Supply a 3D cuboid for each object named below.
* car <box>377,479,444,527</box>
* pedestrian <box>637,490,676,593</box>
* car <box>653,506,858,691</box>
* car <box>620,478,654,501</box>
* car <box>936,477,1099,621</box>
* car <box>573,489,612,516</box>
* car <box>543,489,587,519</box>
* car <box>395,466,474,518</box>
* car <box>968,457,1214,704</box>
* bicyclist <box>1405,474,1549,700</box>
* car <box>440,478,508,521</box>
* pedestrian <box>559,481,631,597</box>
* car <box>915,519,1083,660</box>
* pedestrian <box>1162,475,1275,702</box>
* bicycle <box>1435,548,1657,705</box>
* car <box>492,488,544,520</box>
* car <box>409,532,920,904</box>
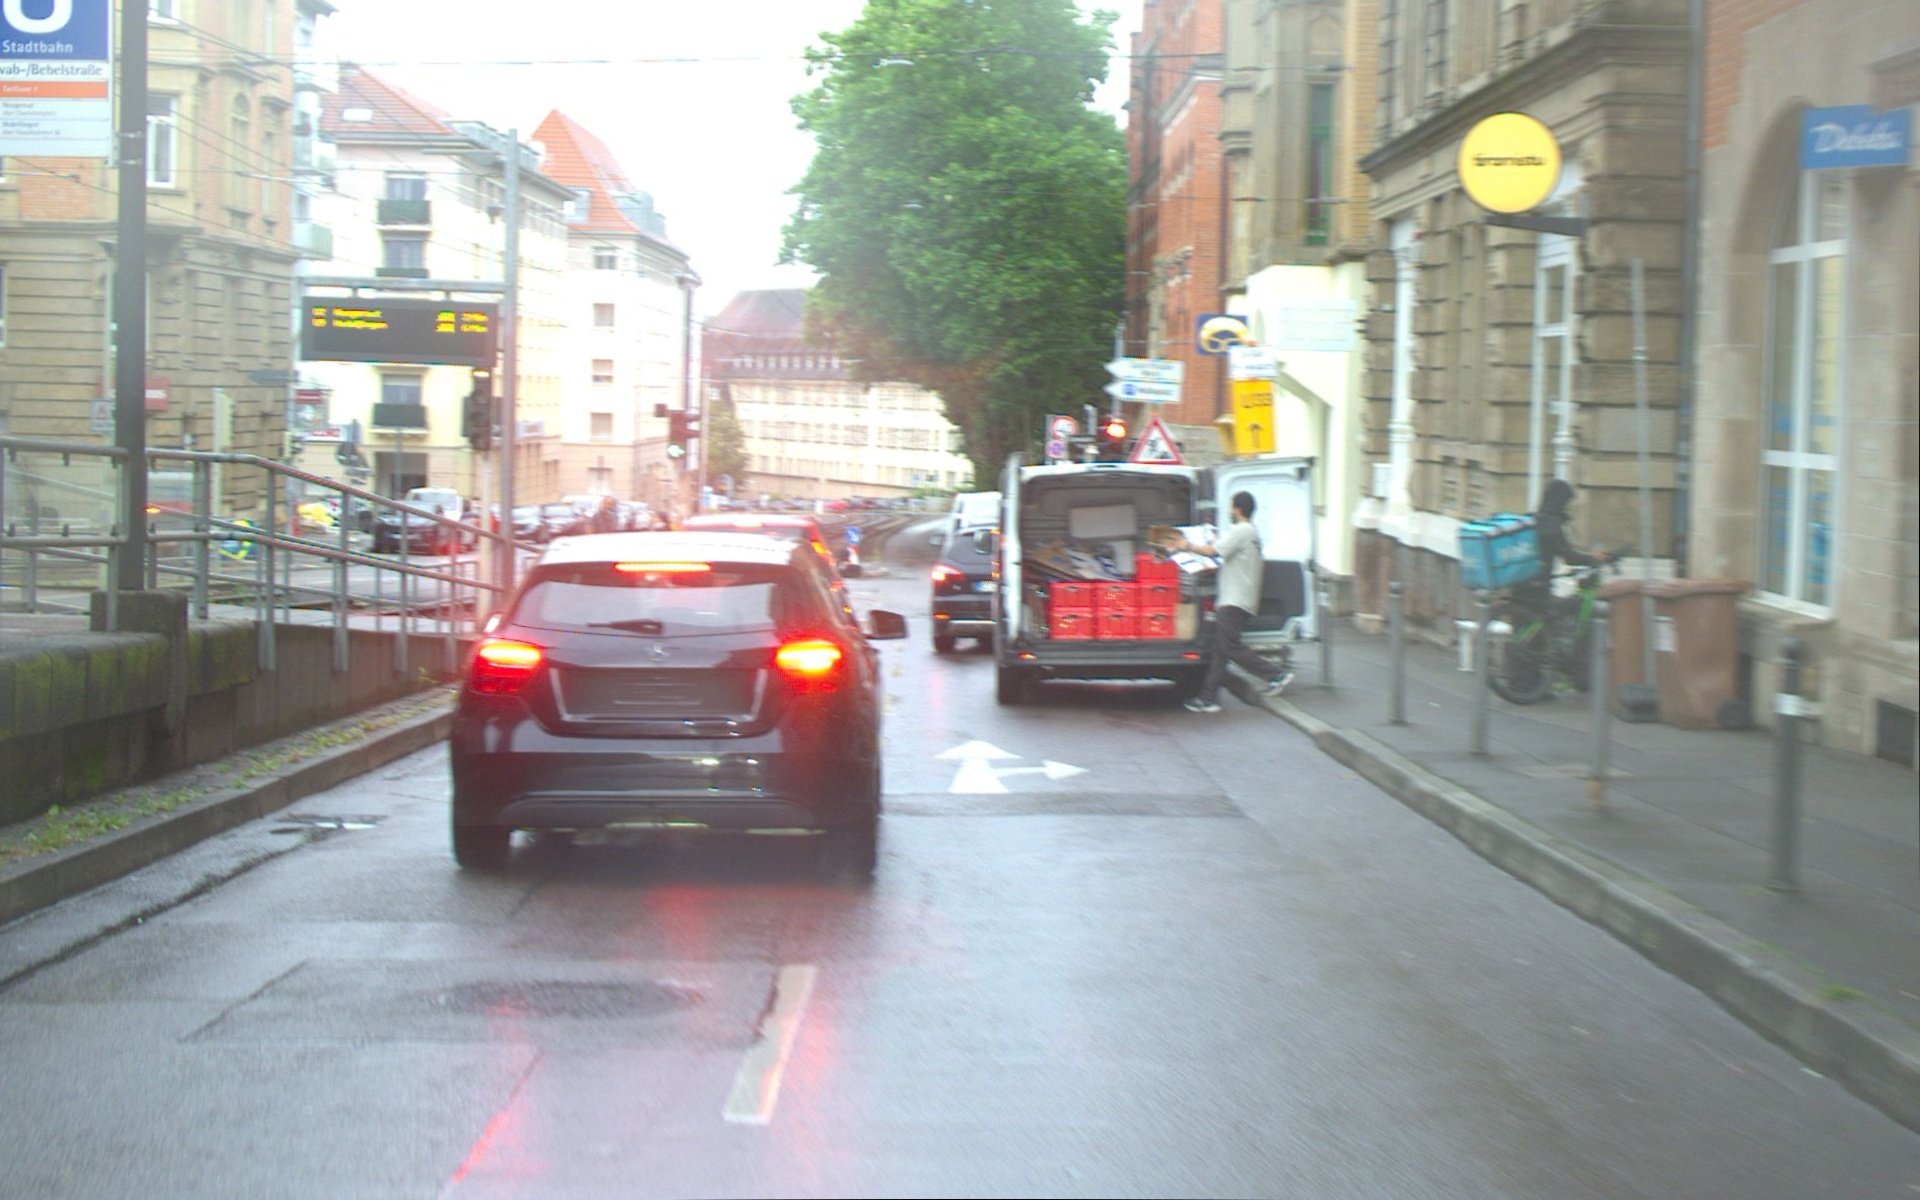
[{"bbox_3d":[-16.036,-2.848,100.424,1.452,1.314,3.295,2,2,-1],"label":"car"},{"bbox_3d":[-4.540,-0.878,51.425,0.531,1.525,0.437,1,2,-8],"label":"pedestrian"},{"bbox_3d":[-1.751,-0.062,30.220,1.679,1.484,3.613,1,2,-2],"label":"car"},{"bbox_3d":[-16.785,-5.755,178.738,1.395,1.167,3.162,1,2,0],"label":"car"},{"bbox_3d":[0.736,-0.736,47.045,1.933,1.825,4.282,1,2,-3],"label":"car"},{"bbox_3d":[-16.781,-4.457,157.002,1.395,1.167,3.162,1,2,0],"label":"car"},{"bbox_3d":[-15.999,-3.895,139.331,1.395,1.167,3.162,1,2,0],"label":"car"},{"bbox_3d":[-16.341,-3.361,107.073,1.786,1.524,4.463,1,2,-1],"label":"car"},{"bbox_3d":[1.087,-0.223,29.755,1.921,1.929,4.686,1,2,1],"label":"car"},{"bbox_3d":[3.841,-0.107,25.564,0.847,1.651,0.632,-1,1,-25],"label":"bicyclist"},{"bbox_3d":[-15.993,-3.334,113.311,1.680,1.351,3.703,1,2,0],"label":"car"},{"bbox_3d":[-5.475,-0.915,51.548,0.739,1.718,0.741,0,2,-43],"label":"pedestrian"},{"bbox_3d":[0.507,-0.163,39.875,1.713,1.464,4.281,2,2,3],"label":"car"},{"bbox_3d":[2.019,-0.101,26.818,0.834,1.747,0.687,0,2,8],"label":"pedestrian"},{"bbox_3d":[4.313,0.182,25.267,1.683,1.111,0.465,-1,2,-28],"label":"bicycle"},{"bbox_3d":[-16.181,-3.519,125.955,1.437,1.102,3.162,1,2,0],"label":"car"},{"bbox_3d":[-1.198,0.430,15.641,1.895,1.385,4.000,1,2,1],"label":"car"}]
